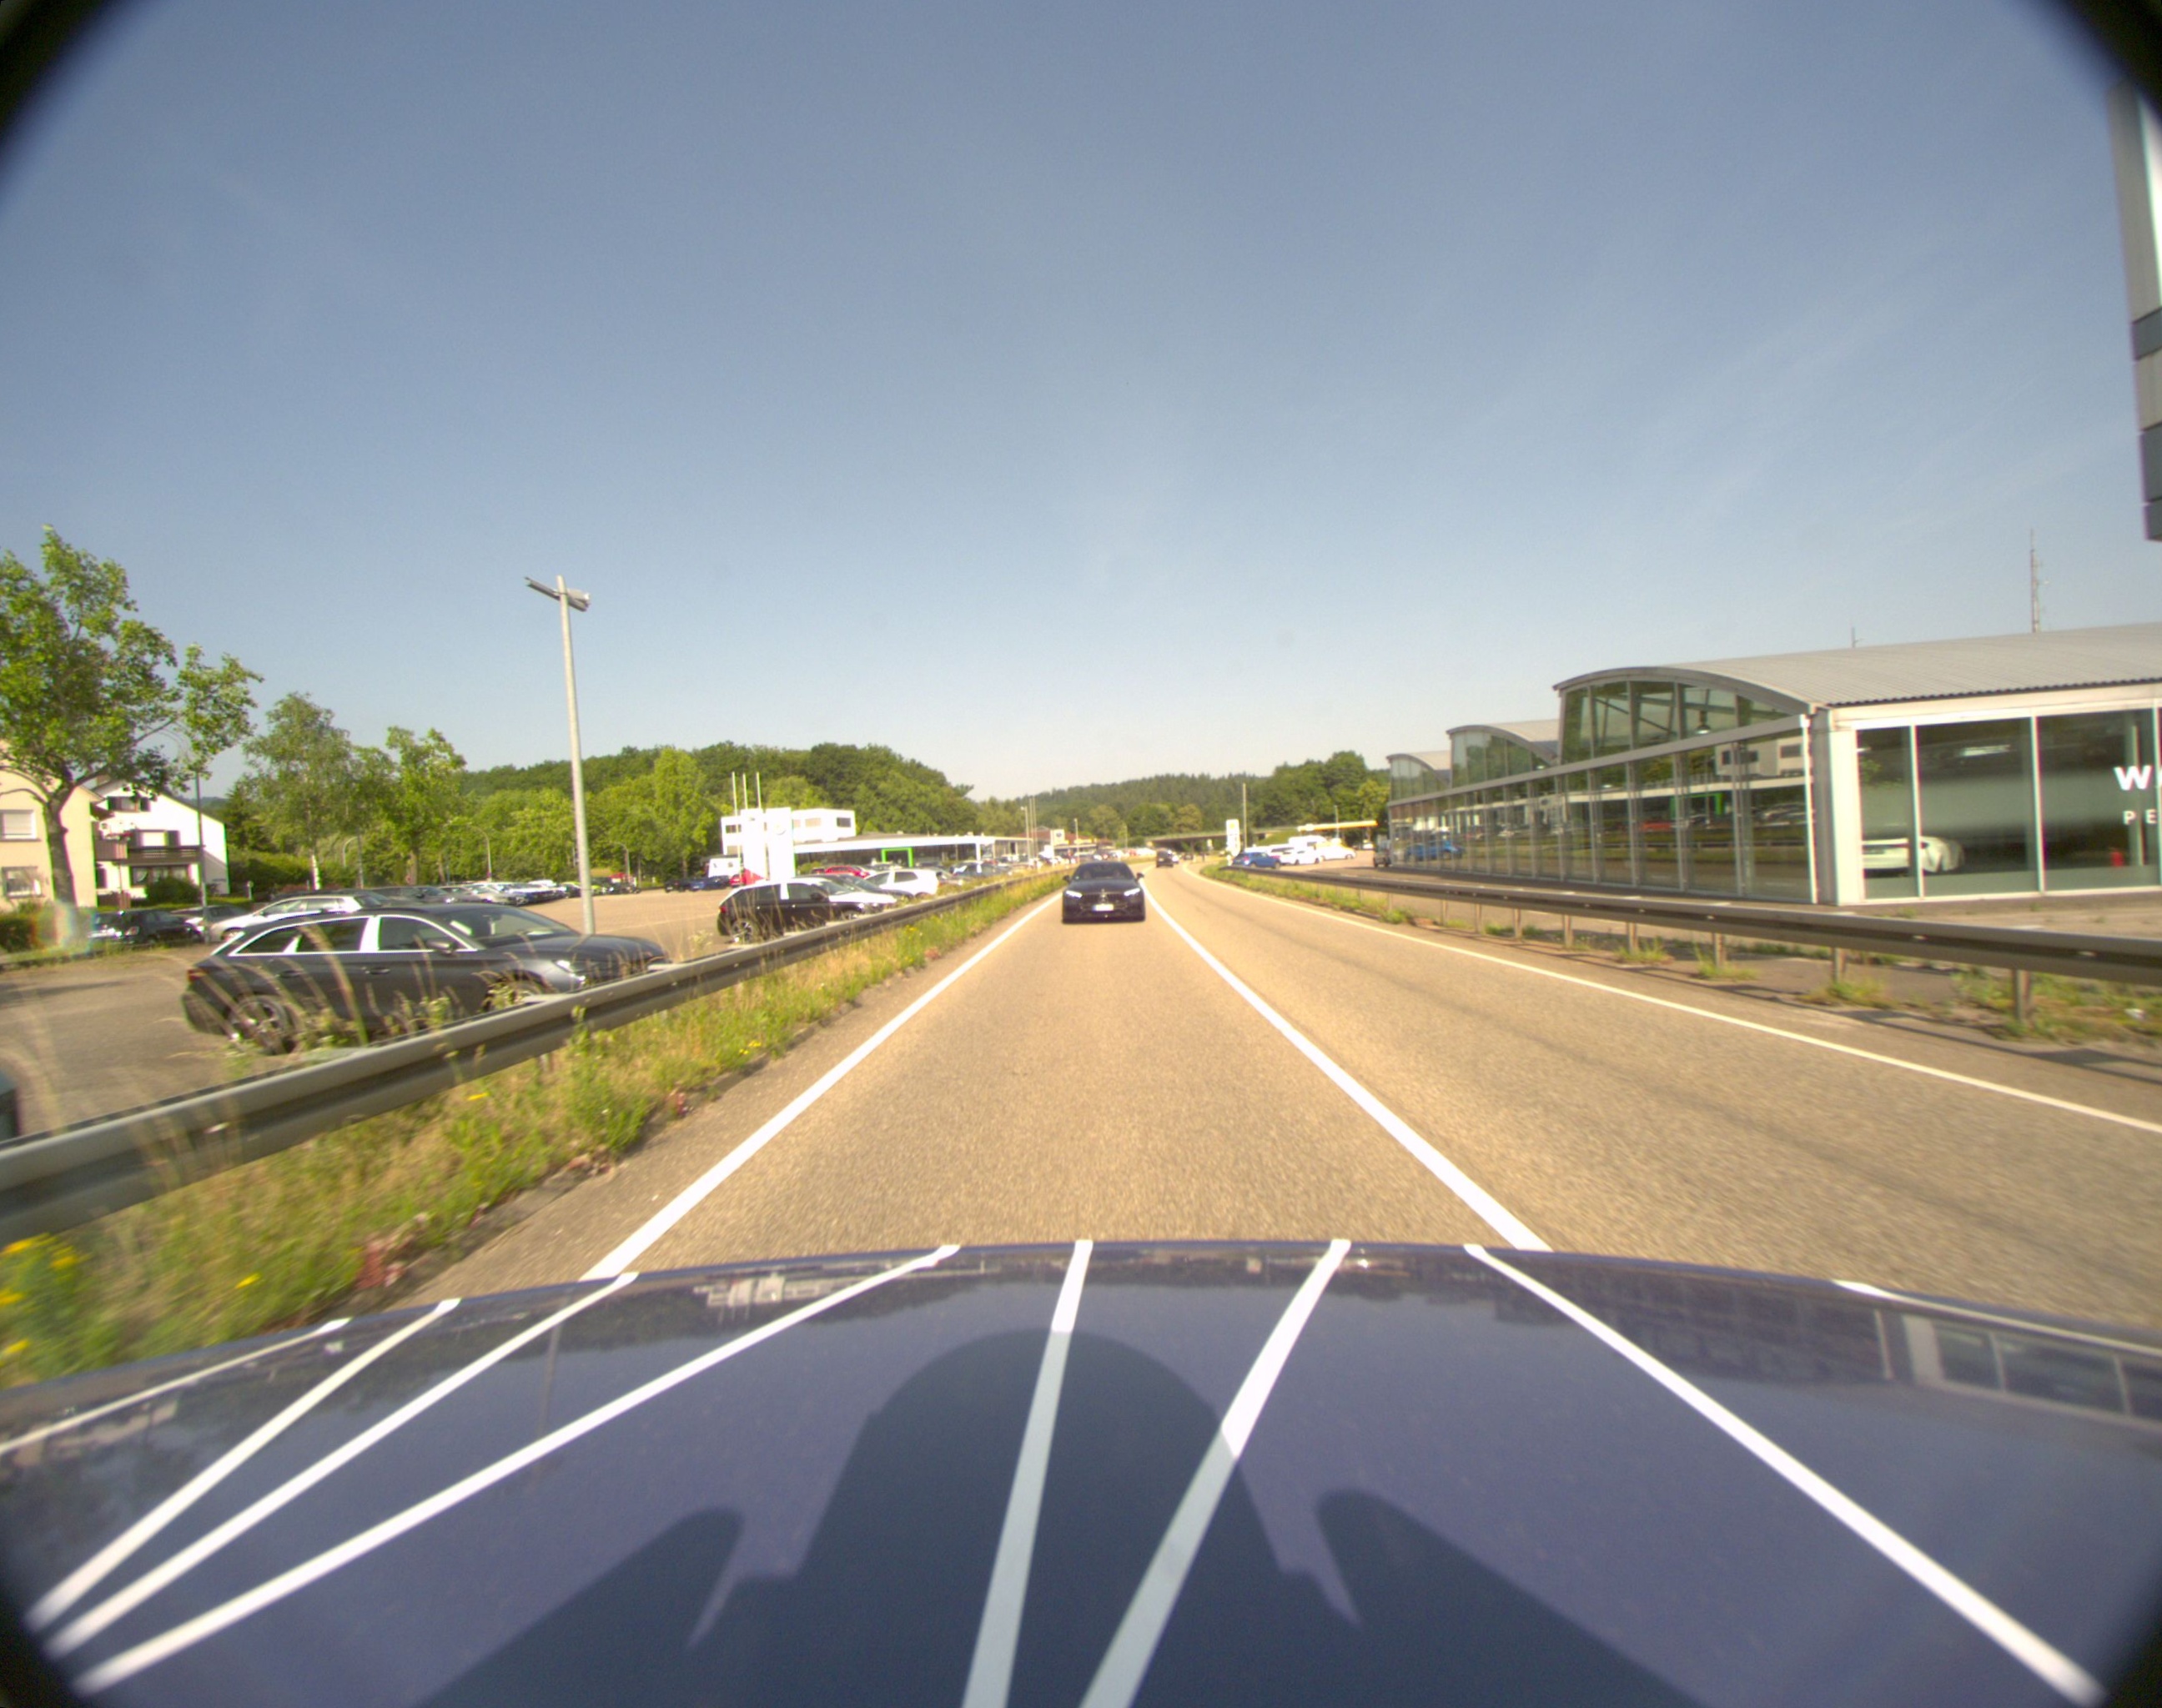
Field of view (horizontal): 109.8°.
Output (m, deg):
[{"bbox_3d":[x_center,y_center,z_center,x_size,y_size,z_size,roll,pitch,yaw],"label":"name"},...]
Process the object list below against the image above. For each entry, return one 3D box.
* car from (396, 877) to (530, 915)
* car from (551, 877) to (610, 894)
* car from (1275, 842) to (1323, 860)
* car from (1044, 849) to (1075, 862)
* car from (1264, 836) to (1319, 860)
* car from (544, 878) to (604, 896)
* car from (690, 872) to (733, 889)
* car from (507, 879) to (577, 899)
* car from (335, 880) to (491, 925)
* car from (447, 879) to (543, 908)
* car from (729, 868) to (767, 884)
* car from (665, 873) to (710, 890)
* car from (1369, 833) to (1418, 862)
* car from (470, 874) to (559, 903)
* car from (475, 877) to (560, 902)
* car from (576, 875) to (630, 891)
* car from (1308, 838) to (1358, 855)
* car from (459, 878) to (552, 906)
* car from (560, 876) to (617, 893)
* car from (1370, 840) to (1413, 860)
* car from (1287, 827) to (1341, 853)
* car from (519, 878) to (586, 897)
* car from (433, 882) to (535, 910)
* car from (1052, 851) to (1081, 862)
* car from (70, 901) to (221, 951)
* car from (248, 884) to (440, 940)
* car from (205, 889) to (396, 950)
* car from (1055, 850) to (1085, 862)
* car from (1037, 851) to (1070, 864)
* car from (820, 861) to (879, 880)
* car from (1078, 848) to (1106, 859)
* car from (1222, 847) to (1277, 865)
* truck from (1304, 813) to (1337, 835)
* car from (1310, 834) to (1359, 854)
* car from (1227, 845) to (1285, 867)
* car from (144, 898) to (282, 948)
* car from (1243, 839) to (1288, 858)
[{"bbox_3d":[-30.991,2.082,38.241,4.762,1.513,1.995,-3,1,-12],"label":"car"},{"bbox_3d":[-52.145,3.296,79.195,4.751,1.537,1.775,-2,1,-8],"label":"car"},{"bbox_3d":[20.242,-0.255,70.465,4.237,1.395,1.893,-4,1,-34],"label":"car"},{"bbox_3d":[-2.968,0.205,104.494,3.883,1.654,1.842,-2,1,16],"label":"car"},{"bbox_3d":[20.939,-0.561,75.797,4.802,1.970,2.230,-5,0,6],"label":"car"},{"bbox_3d":[-51.220,3.301,76.838,4.752,1.537,1.775,-2,1,-9],"label":"car"},{"bbox_3d":[-38.723,2.725,79.737,1.837,1.537,4.465,-2,1,9],"label":"car"},{"bbox_3d":[-48.631,3.116,68.629,4.755,1.537,1.774,-2,1,-17],"label":"car"},{"bbox_3d":[-28.555,2.048,32.660,4.637,1.513,1.862,-3,1,-12],"label":"car"},{"bbox_3d":[-39.189,2.610,50.999,4.757,1.579,1.927,-2,1,-26],"label":"car"},{"bbox_3d":[-37.128,2.408,84.829,2.001,1.537,4.610,-2,1,3],"label":"car"},{"bbox_3d":[-41.465,2.855,80.165,1.837,1.537,4.466,-1,1,11],"label":"car"},{"bbox_3d":[20.475,-0.385,49.935,1.809,1.703,4.411,-3,-1,7],"label":"car"},{"bbox_3d":[-41.371,2.497,55.610,4.755,1.770,1.928,-2,1,-18],"label":"car"},{"bbox_3d":[-42.794,2.663,57.832,4.755,1.625,1.928,-2,1,-20],"label":"car"},{"bbox_3d":[-53.148,3.227,84.542,4.748,1.537,1.776,-2,1,-1],"label":"car"},{"bbox_3d":[25.713,-0.727,77.777,4.474,1.390,1.967,-4,0,6],"label":"car"},{"bbox_3d":[-40.184,2.624,53.203,4.756,1.579,1.928,-2,1,-23],"label":"car"},{"bbox_3d":[-52.953,3.244,81.759,4.750,1.537,1.775,-2,1,-5],"label":"car"},{"bbox_3d":[24.335,-0.283,59.738,1.809,1.378,4.834,-3,-1,7],"label":"car"},{"bbox_3d":[27.821,-1.668,90.987,5.732,2.729,2.286,-4,1,8],"label":"car"},{"bbox_3d":[-49.485,3.110,71.191,4.754,1.537,1.774,-2,1,-16],"label":"car"},{"bbox_3d":[-37.955,2.639,48.479,4.757,1.450,1.927,-2,1,-26],"label":"car"},{"bbox_3d":[-2.069,0.356,106.629,3.737,1.450,1.666,-2,1,12],"label":"car"},{"bbox_3d":[-30.126,2.269,24.627,1.596,1.179,3.655,-3,1,-25],"label":"car"},{"bbox_3d":[-26.293,2.018,27.315,4.501,1.591,1.838,-3,1,-20],"label":"car"},{"bbox_3d":[-24.314,2.003,23.845,3.769,1.513,1.654,-3,1,-23],"label":"car"},{"bbox_3d":[-1.567,0.287,108.987,4.089,1.543,1.783,-2,1,12],"label":"car"},{"bbox_3d":[-3.653,0.470,101.548,4.041,1.477,1.724,-2,1,16],"label":"car"},{"bbox_3d":[-21.443,1.498,70.444,4.745,1.556,1.933,-2,1,9],"label":"car"},{"bbox_3d":[1.805,-0.041,120.552,3.992,1.622,1.923,-2,1,17],"label":"car"},{"bbox_3d":[13.946,0.153,62.789,4.402,1.359,1.849,-2,0,-34],"label":"car"},{"bbox_3d":[48.790,-5.976,154.509,3.055,4.111,16.800,-2,1,29],"label":"truck"},{"bbox_3d":[26.754,-1.039,80.297,4.390,1.797,2.002,-5,0,6],"label":"car"},{"bbox_3d":[13.636,0.132,59.025,4.239,1.498,1.980,-2,0,-34],"label":"car"},{"bbox_3d":[-33.503,2.616,29.513,1.788,1.466,3.981,-3,1,-20],"label":"car"},{"bbox_3d":[21.044,-0.598,86.681,4.681,1.847,2.144,-4,0,6],"label":"car"}]
